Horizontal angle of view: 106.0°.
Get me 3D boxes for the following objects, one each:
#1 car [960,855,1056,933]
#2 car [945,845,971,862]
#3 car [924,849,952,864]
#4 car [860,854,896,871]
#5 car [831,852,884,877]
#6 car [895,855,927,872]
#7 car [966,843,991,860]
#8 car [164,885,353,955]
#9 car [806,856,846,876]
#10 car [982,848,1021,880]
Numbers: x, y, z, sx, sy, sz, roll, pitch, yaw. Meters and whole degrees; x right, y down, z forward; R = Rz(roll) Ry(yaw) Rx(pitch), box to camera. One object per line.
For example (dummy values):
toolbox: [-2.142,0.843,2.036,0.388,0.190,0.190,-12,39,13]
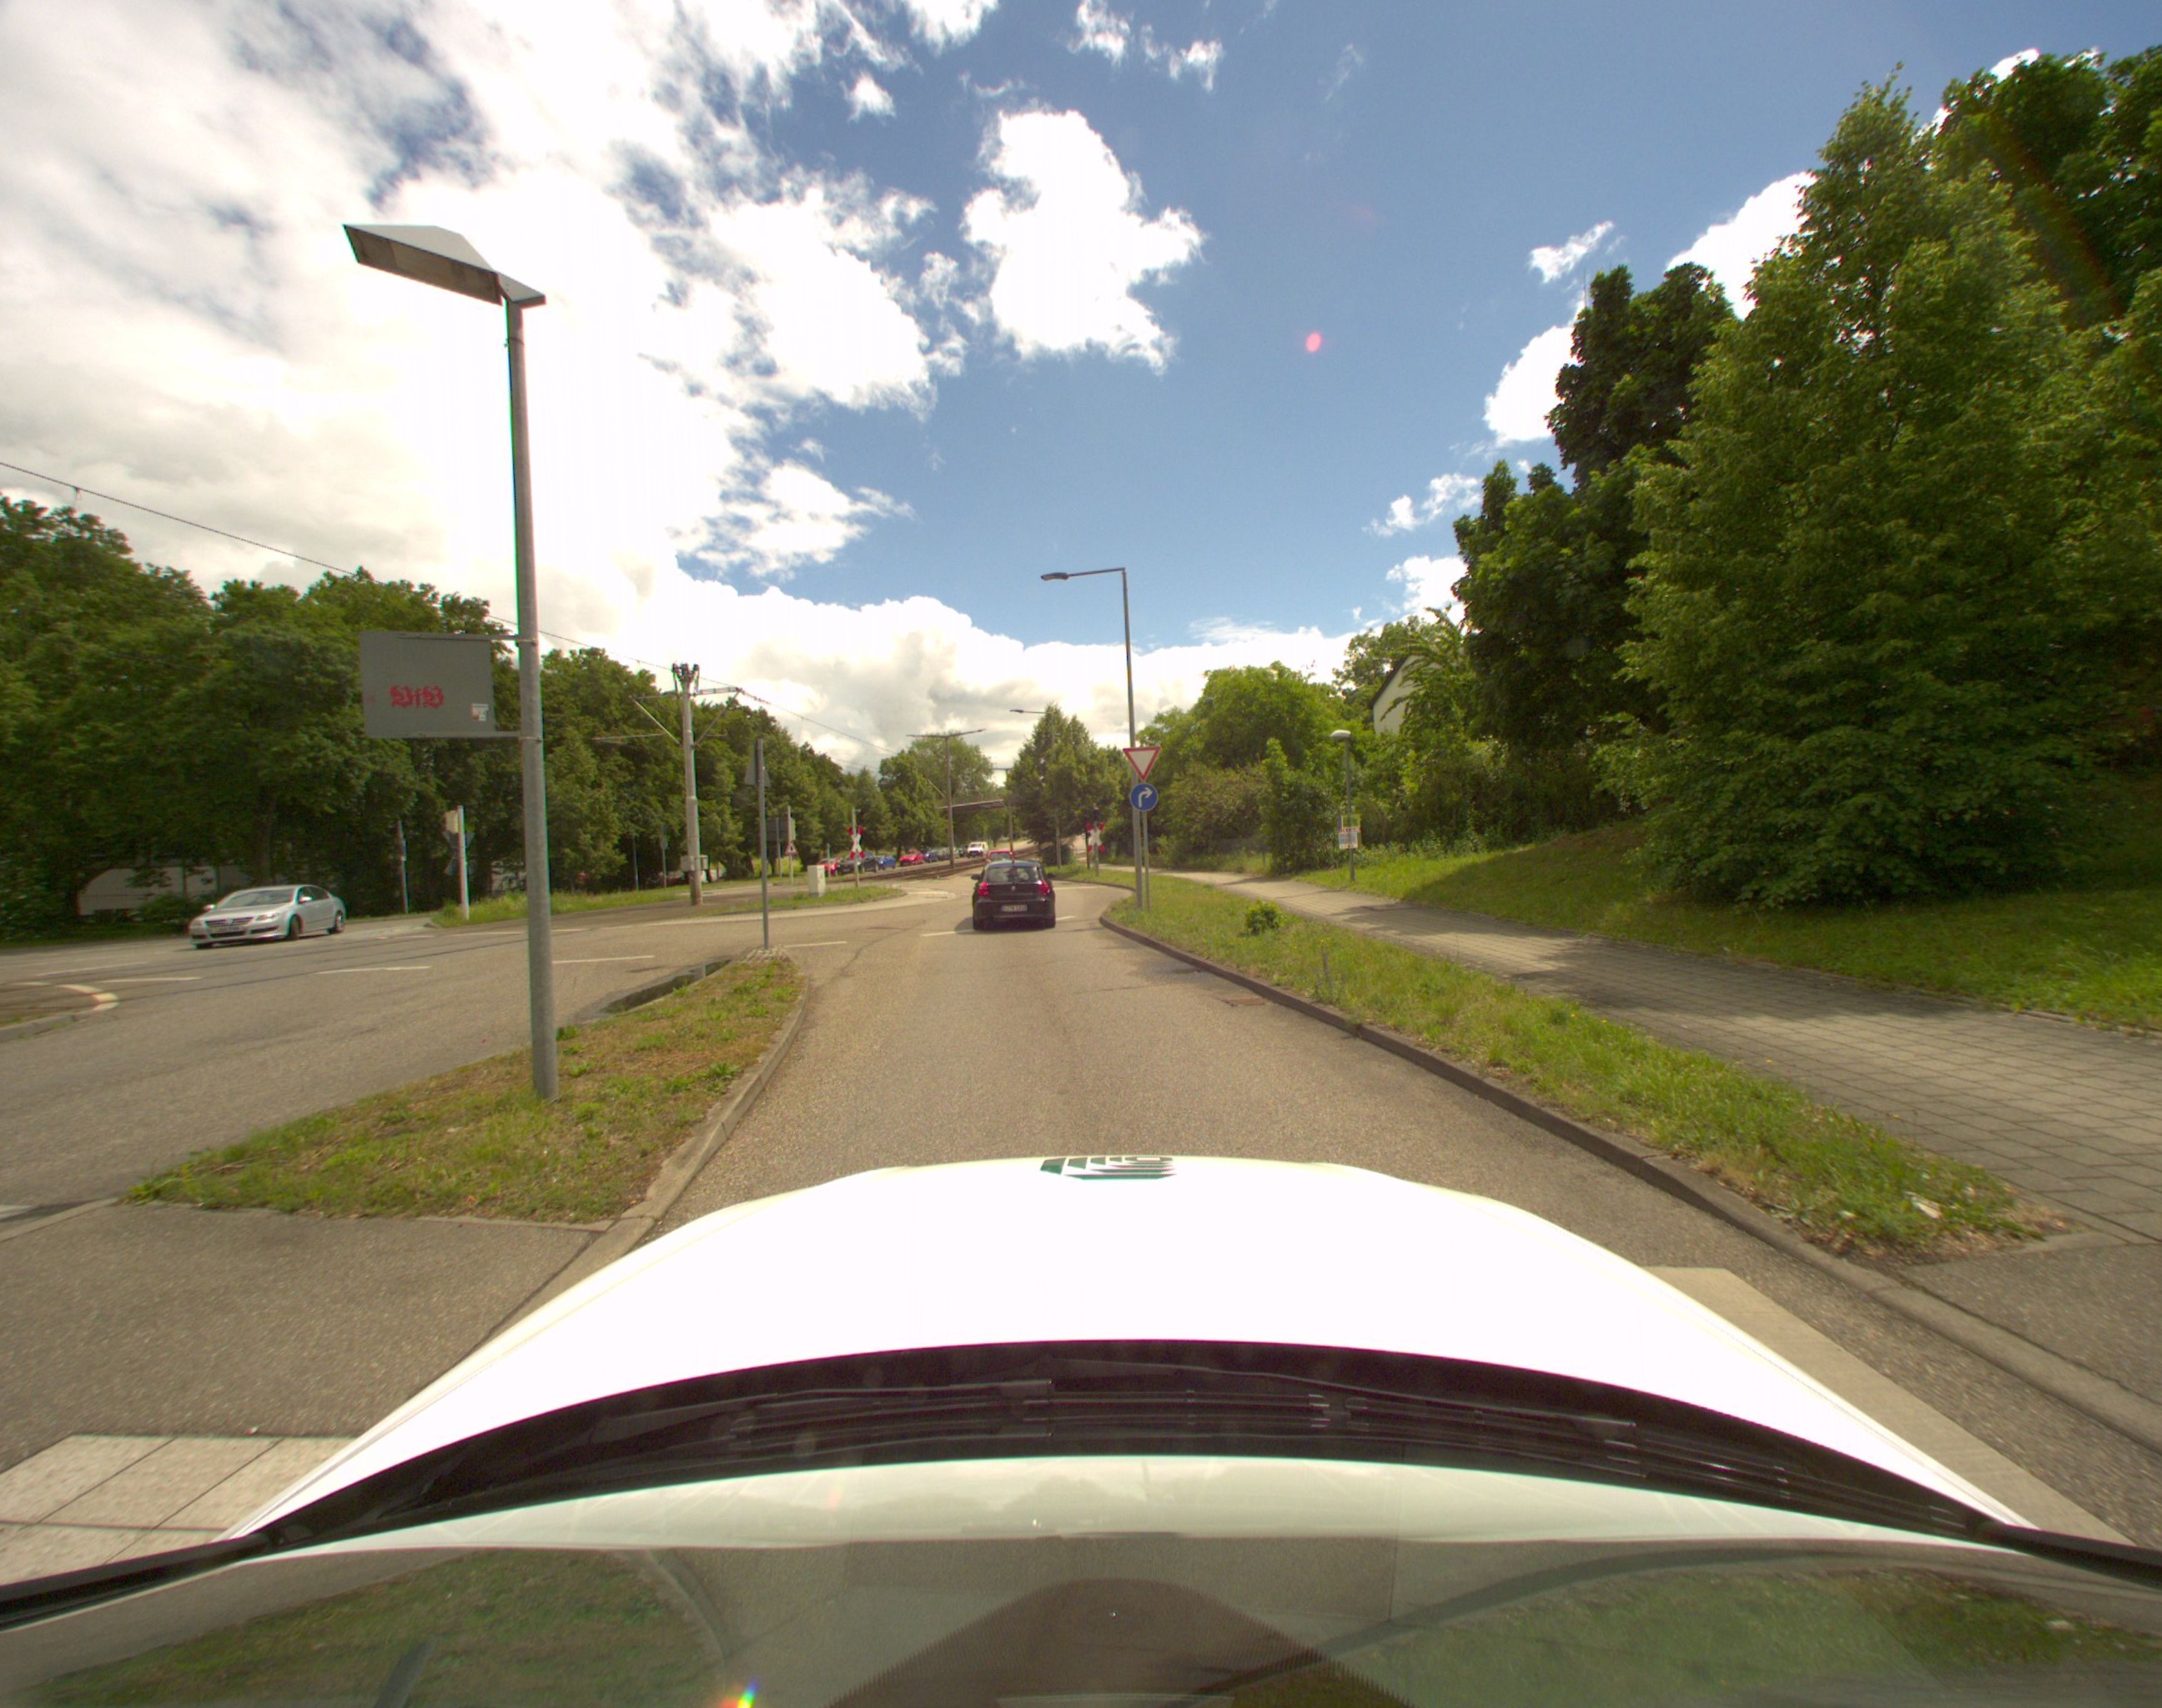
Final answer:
car: [-1.582,0.830,18.026,1.812,1.421,3.993,-3,-1,-5]
car: [-15.667,-0.081,104.006,1.982,2.013,4.011,-2,1,9]
car: [-16.317,0.274,92.874,1.983,1.473,4.008,-3,1,7]
car: [-17.898,0.726,71.851,1.796,1.254,3.576,-3,1,7]
car: [-16.040,0.695,58.653,1.982,1.597,4.431,-3,0,9]
car: [-17.116,0.942,82.234,1.902,1.561,4.008,-3,0,7]
car: [-12.446,-0.307,99.030,1.983,2.013,4.008,-3,0,7]
car: [-20.834,1.593,20.878,1.883,1.350,3.805,-4,1,-20]
car: [-19.038,0.876,60.951,1.521,1.370,3.602,-3,0,5]
car: [-4.026,0.504,41.257,1.763,1.432,3.471,-3,-1,-6]
